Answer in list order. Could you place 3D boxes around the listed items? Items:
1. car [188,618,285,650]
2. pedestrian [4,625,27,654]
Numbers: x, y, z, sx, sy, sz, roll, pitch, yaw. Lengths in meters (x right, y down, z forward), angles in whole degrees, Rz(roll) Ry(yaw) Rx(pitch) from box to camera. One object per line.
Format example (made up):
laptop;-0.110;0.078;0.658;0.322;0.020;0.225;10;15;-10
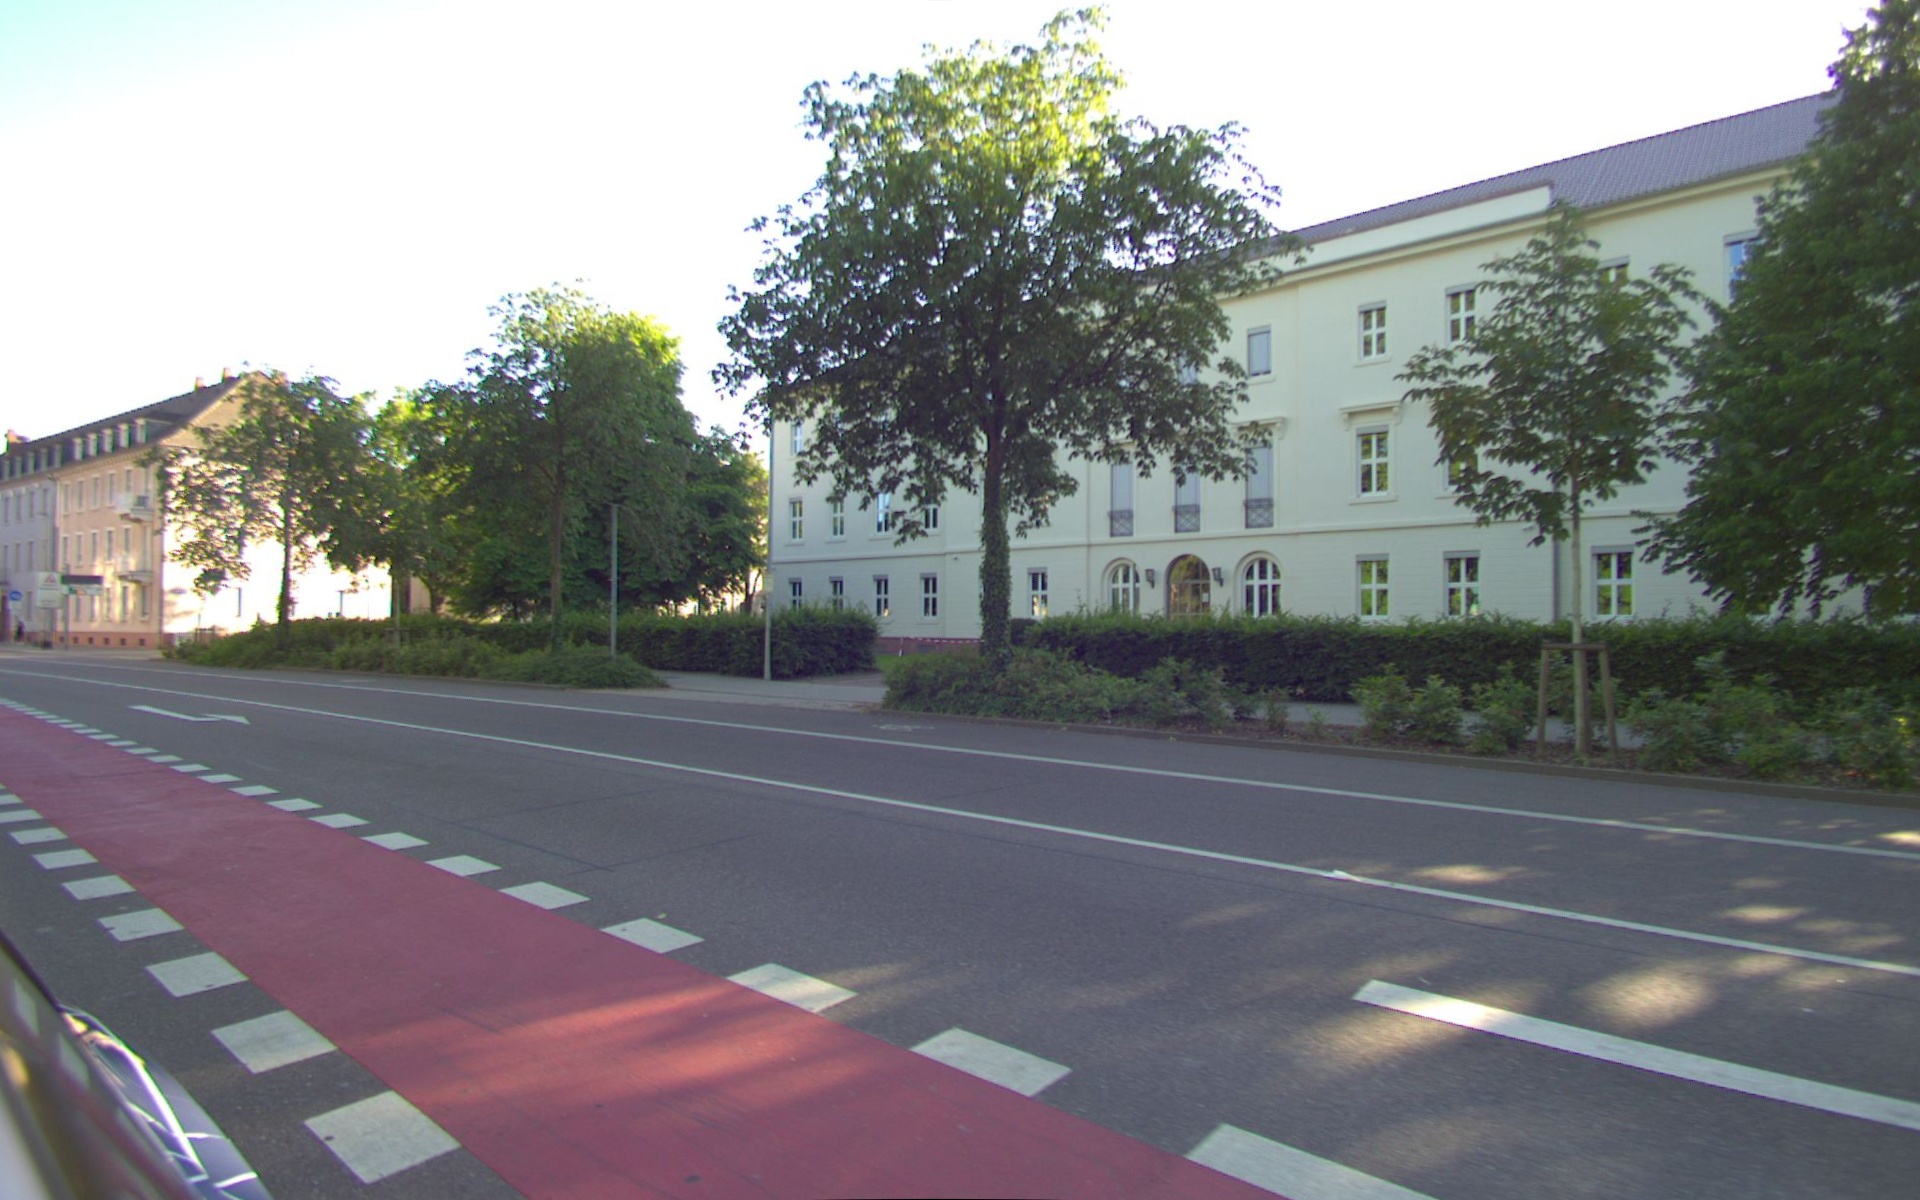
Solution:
car;-40.049;1.829;56.108;1.993;1.674;3.958;0;-1;31
pedestrian;-63.593;2.659;68.137;1.060;1.919;0.938;-1;-1;34
